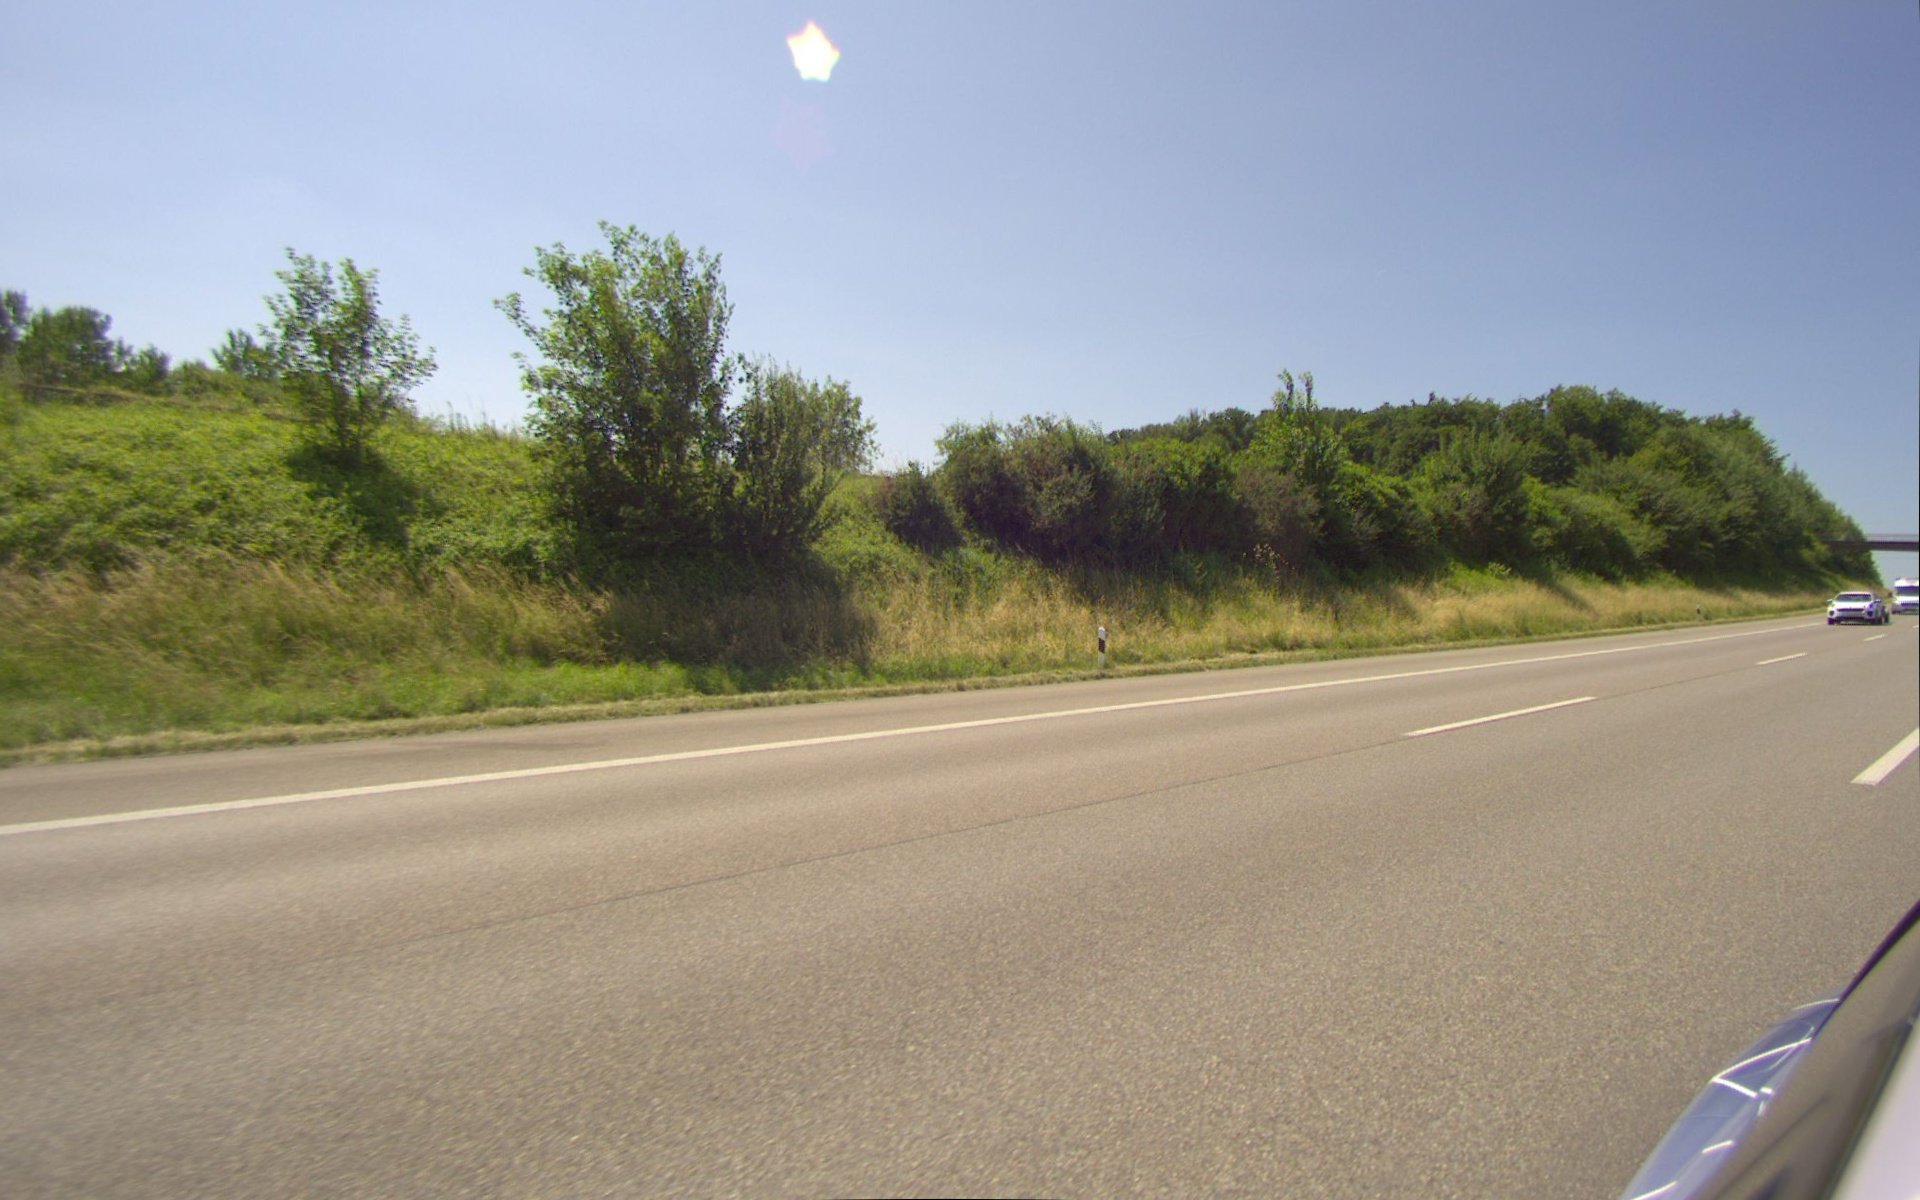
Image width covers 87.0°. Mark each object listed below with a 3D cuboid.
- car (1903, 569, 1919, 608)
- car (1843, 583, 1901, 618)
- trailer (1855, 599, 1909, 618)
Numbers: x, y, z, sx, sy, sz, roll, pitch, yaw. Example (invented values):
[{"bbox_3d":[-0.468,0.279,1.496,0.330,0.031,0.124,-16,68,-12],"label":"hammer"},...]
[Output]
[{"bbox_3d":[68.097,-0.756,71.249,2.086,2.609,6.526,0,0,40],"label":"car"},{"bbox_3d":[45.490,0.062,50.453,4.328,1.672,1.783,1,0,-43],"label":"car"},{"bbox_3d":[48.635,0.429,53.382,4.246,0.920,1.756,0,0,-43],"label":"trailer"}]
